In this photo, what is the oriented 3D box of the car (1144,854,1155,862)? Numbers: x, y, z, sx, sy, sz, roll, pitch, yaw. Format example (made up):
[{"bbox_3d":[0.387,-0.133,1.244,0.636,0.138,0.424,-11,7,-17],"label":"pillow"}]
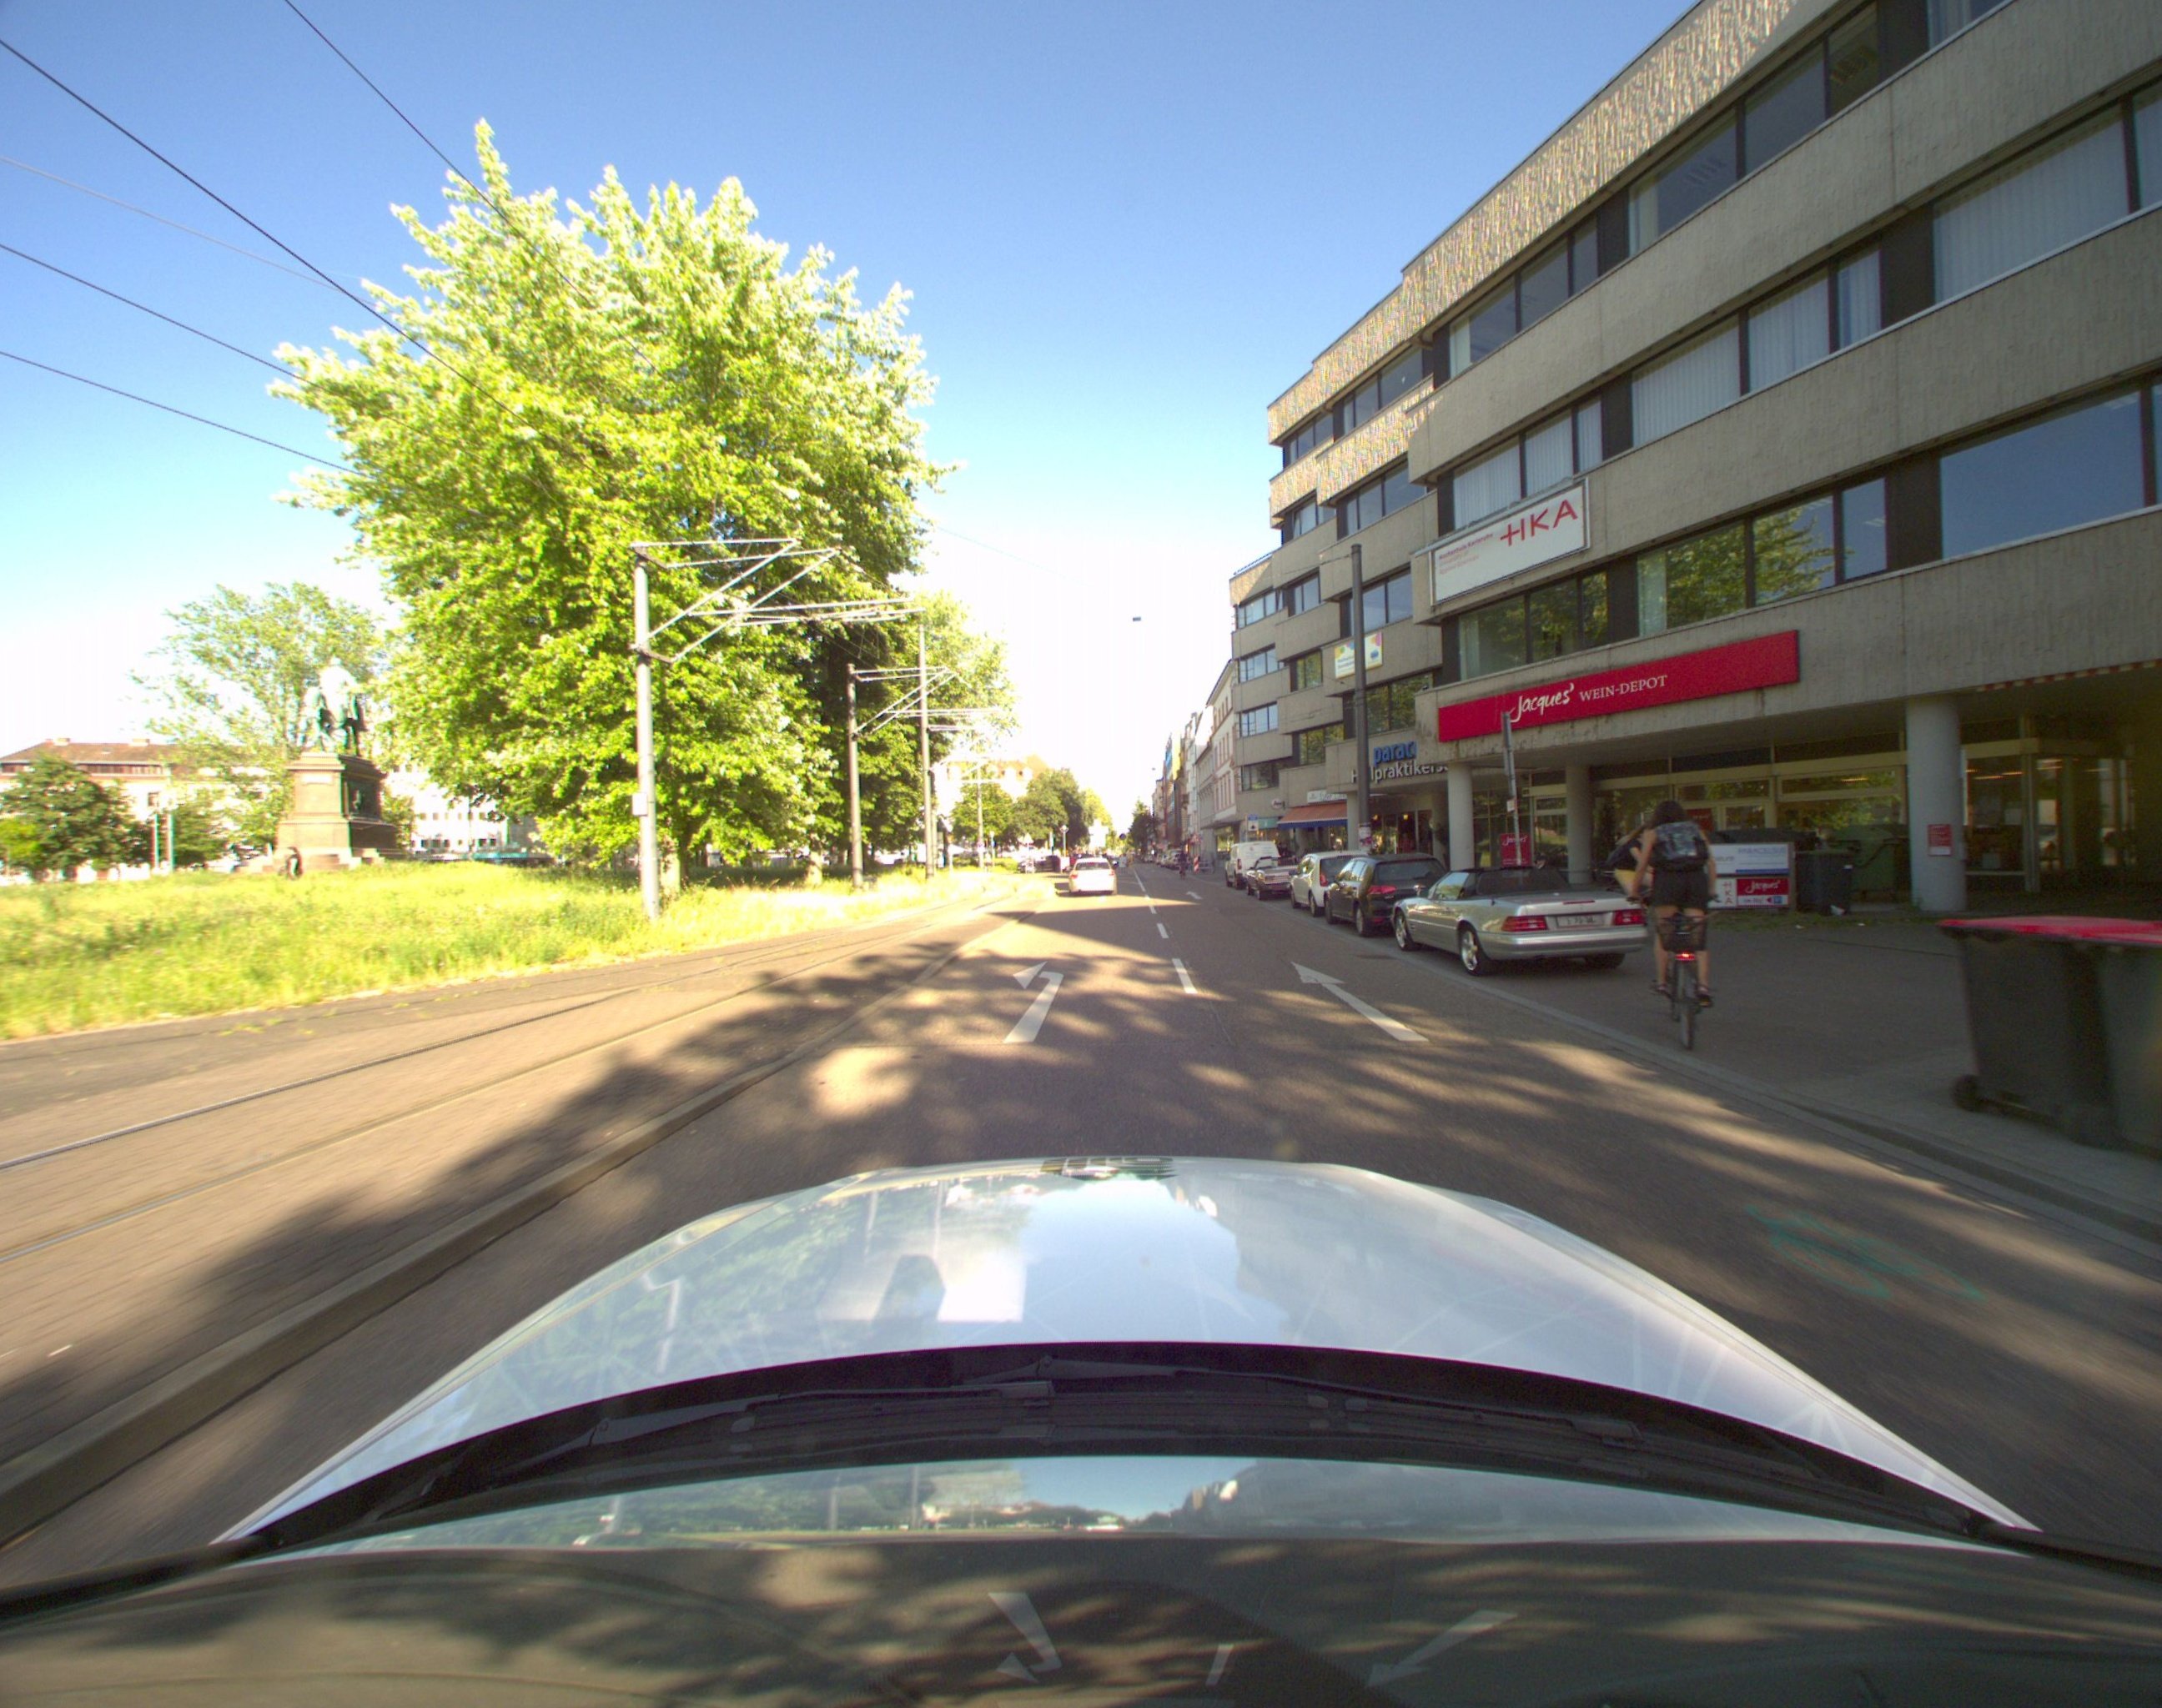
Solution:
[{"bbox_3d":[13.318,0.758,158.739,1.984,1.618,4.016,0,-1,5],"label":"car"}]

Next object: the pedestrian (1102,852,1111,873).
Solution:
[{"bbox_3d":[2.028,0.662,64.358,0.633,1.672,0.693,0,-1,3],"label":"pedestrian"}]

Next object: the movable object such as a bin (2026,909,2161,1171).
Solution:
[{"bbox_3d":[4.969,0.820,3.748,0.608,1.105,0.525,0,-1,-1],"label":"movable object such as a bin"}]

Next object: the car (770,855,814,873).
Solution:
[{"bbox_3d":[-37.103,1.271,104.604,5.355,2.314,1.986,0,-1,-21],"label":"car"}]

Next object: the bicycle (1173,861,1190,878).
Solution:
[{"bbox_3d":[5.789,0.915,46.898,0.650,0.958,2.697,0,-1,0],"label":"bicycle"}]

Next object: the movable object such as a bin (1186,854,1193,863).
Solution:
[{"bbox_3d":[14.135,0.580,106.467,0.872,1.123,0.829,0,-1,3],"label":"movable object such as a bin"}]

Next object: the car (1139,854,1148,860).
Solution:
[{"bbox_3d":[14.757,0.686,191.138,1.985,1.453,4.003,-1,0,3],"label":"car"}]

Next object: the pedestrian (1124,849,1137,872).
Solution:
[{"bbox_3d":[3.806,0.496,62.720,0.795,1.699,0.674,-2,-2,45],"label":"pedestrian"}]

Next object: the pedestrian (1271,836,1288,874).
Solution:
[{"bbox_3d":[10.113,0.055,41.456,0.667,1.856,0.611,-4,-2,6],"label":"pedestrian"}]

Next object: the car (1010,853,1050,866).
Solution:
[{"bbox_3d":[-7.320,0.834,116.847,5.287,1.800,2.146,0,-1,-24],"label":"car"}]

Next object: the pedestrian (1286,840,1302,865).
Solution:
[{"bbox_3d":[10.819,-0.074,41.446,0.626,1.236,0.625,-3,-2,6],"label":"pedestrian"}]

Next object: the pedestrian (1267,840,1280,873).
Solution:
[{"bbox_3d":[10.008,0.141,42.286,0.580,1.714,0.699,0,-1,6],"label":"pedestrian"}]

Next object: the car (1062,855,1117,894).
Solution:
[{"bbox_3d":[0.363,0.772,31.287,1.986,1.423,4.198,0,-1,2],"label":"car"}]

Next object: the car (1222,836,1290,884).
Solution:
[{"bbox_3d":[6.977,0.283,32.891,1.985,1.813,4.312,0,-1,3],"label":"car"}]

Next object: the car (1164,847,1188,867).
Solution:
[{"bbox_3d":[10.082,0.280,86.837,1.986,2.005,5.119,-1,0,2],"label":"car"}]

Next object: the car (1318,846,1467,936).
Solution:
[{"bbox_3d":[5.922,0.672,15.993,1.663,1.518,4.205,0,-1,5],"label":"car"}]

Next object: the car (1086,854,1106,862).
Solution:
[{"bbox_3d":[3.137,0.855,167.820,3.969,1.508,1.896,0,-1,3],"label":"car"}]

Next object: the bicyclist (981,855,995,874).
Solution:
[{"bbox_3d":[-7.460,0.818,65.391,0.933,1.507,0.819,0,-1,-24],"label":"bicyclist"}]

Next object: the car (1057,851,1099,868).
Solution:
[{"bbox_3d":[-0.297,0.544,83.429,3.991,1.668,1.991,0,0,-13],"label":"car"}]

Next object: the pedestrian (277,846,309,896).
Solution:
[{"bbox_3d":[-26.189,0.559,27.071,0.548,1.616,0.679,-1,-2,41],"label":"pedestrian"}]

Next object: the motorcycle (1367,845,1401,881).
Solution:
[{"bbox_3d":[10.458,0.305,28.166,0.758,1.155,2.054,-4,-2,13],"label":"motorcycle"}]

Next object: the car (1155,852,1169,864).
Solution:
[{"bbox_3d":[11.686,0.550,117.732,1.891,1.675,4.828,0,-1,3],"label":"car"}]

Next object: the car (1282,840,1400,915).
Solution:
[{"bbox_3d":[6.321,0.558,20.254,1.844,1.689,3.869,0,-1,3],"label":"car"}]

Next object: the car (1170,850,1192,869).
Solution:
[{"bbox_3d":[9.340,0.578,76.384,1.738,1.739,4.963,0,-1,3],"label":"car"}]

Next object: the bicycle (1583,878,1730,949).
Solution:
[{"bbox_3d":[8.112,0.800,11.605,0.533,0.891,2.067,0,-1,-3],"label":"bicycle"}]

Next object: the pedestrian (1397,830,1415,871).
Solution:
[{"bbox_3d":[14.629,-0.163,36.659,0.698,1.816,0.720,-1,-1,18],"label":"pedestrian"}]

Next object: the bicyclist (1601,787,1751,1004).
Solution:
[{"bbox_3d":[4.918,0.325,6.787,0.930,1.633,0.941,-1,-2,35],"label":"bicyclist"}]

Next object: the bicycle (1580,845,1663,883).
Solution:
[{"bbox_3d":[14.614,0.250,22.029,1.834,0.981,0.686,0,0,37],"label":"bicycle"}]

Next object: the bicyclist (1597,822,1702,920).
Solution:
[{"bbox_3d":[8.079,0.238,11.616,0.756,1.326,0.993,0,-1,-3],"label":"bicyclist"}]

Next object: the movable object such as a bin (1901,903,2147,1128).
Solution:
[{"bbox_3d":[4.980,0.820,4.342,0.590,1.084,0.604,0,-1,0],"label":"movable object such as a bin"}]

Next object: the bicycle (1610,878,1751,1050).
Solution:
[{"bbox_3d":[4.906,0.800,6.765,0.811,1.185,1.977,-1,-1,34],"label":"bicycle"}]

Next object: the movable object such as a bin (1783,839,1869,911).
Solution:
[{"bbox_3d":[12.107,0.338,13.261,0.739,1.134,0.724,0,-1,9],"label":"movable object such as a bin"}]

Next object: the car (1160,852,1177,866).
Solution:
[{"bbox_3d":[10.319,0.611,96.548,1.711,1.515,3.585,-4,-1,3],"label":"car"}]

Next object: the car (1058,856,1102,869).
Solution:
[{"bbox_3d":[-0.066,0.989,94.894,4.852,1.488,1.752,0,-1,-21],"label":"car"}]

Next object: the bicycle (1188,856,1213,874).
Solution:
[{"bbox_3d":[8.399,0.770,57.131,1.607,1.243,0.663,-1,-1,23],"label":"bicycle"}]

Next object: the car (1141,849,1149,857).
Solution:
[{"bbox_3d":[16.864,-0.267,214.911,1.985,2.014,4.003,-1,0,3],"label":"car"}]

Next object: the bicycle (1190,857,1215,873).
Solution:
[{"bbox_3d":[8.252,0.744,55.306,1.665,1.062,0.345,-1,-1,19],"label":"bicycle"}]

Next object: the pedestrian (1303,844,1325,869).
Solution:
[{"bbox_3d":[12.600,0.127,44.041,0.841,1.292,0.828,-3,-1,-9],"label":"pedestrian"}]

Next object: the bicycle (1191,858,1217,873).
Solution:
[{"bbox_3d":[8.388,0.765,55.667,1.689,1.004,0.430,-1,-1,19],"label":"bicycle"}]

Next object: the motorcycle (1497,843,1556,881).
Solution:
[{"bbox_3d":[14.179,0.225,25.997,0.511,1.168,2.095,0,0,-8],"label":"motorcycle"}]

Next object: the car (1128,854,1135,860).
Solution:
[{"bbox_3d":[12.918,0.742,209.142,1.862,1.556,4.004,0,-1,4],"label":"car"}]

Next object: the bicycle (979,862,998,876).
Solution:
[{"bbox_3d":[-7.467,1.219,65.387,0.813,1.069,2.562,0,-1,-24],"label":"bicycle"}]

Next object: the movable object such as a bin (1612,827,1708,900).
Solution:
[{"bbox_3d":[11.787,0.195,16.621,1.292,1.433,0.961,0,-1,11],"label":"movable object such as a bin"}]

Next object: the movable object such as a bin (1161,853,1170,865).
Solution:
[{"bbox_3d":[11.149,0.656,107.039,1.067,1.457,1.496,-4,0,8],"label":"movable object such as a bin"}]

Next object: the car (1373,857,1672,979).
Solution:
[{"bbox_3d":[5.704,0.751,11.311,1.843,1.344,4.602,0,-1,3],"label":"car"}]

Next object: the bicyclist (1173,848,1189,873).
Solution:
[{"bbox_3d":[5.774,0.368,47.022,0.783,1.453,1.095,0,-1,0],"label":"bicyclist"}]

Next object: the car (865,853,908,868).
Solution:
[{"bbox_3d":[-27.176,0.951,113.918,5.601,2.014,1.803,0,-1,-24],"label":"car"}]

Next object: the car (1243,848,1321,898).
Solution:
[{"bbox_3d":[6.396,0.562,26.417,1.766,1.454,4.738,0,0,5],"label":"car"}]

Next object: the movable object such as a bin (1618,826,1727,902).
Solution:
[{"bbox_3d":[11.219,0.196,15.510,1.327,1.398,1.124,0,-1,10],"label":"movable object such as a bin"}]

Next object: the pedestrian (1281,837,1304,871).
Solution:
[{"bbox_3d":[10.991,0.015,42.345,0.845,1.710,0.714,-3,0,-25],"label":"pedestrian"}]

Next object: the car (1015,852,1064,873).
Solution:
[{"bbox_3d":[-3.538,0.683,69.534,3.890,1.682,1.791,-1,-1,-40],"label":"car"}]
